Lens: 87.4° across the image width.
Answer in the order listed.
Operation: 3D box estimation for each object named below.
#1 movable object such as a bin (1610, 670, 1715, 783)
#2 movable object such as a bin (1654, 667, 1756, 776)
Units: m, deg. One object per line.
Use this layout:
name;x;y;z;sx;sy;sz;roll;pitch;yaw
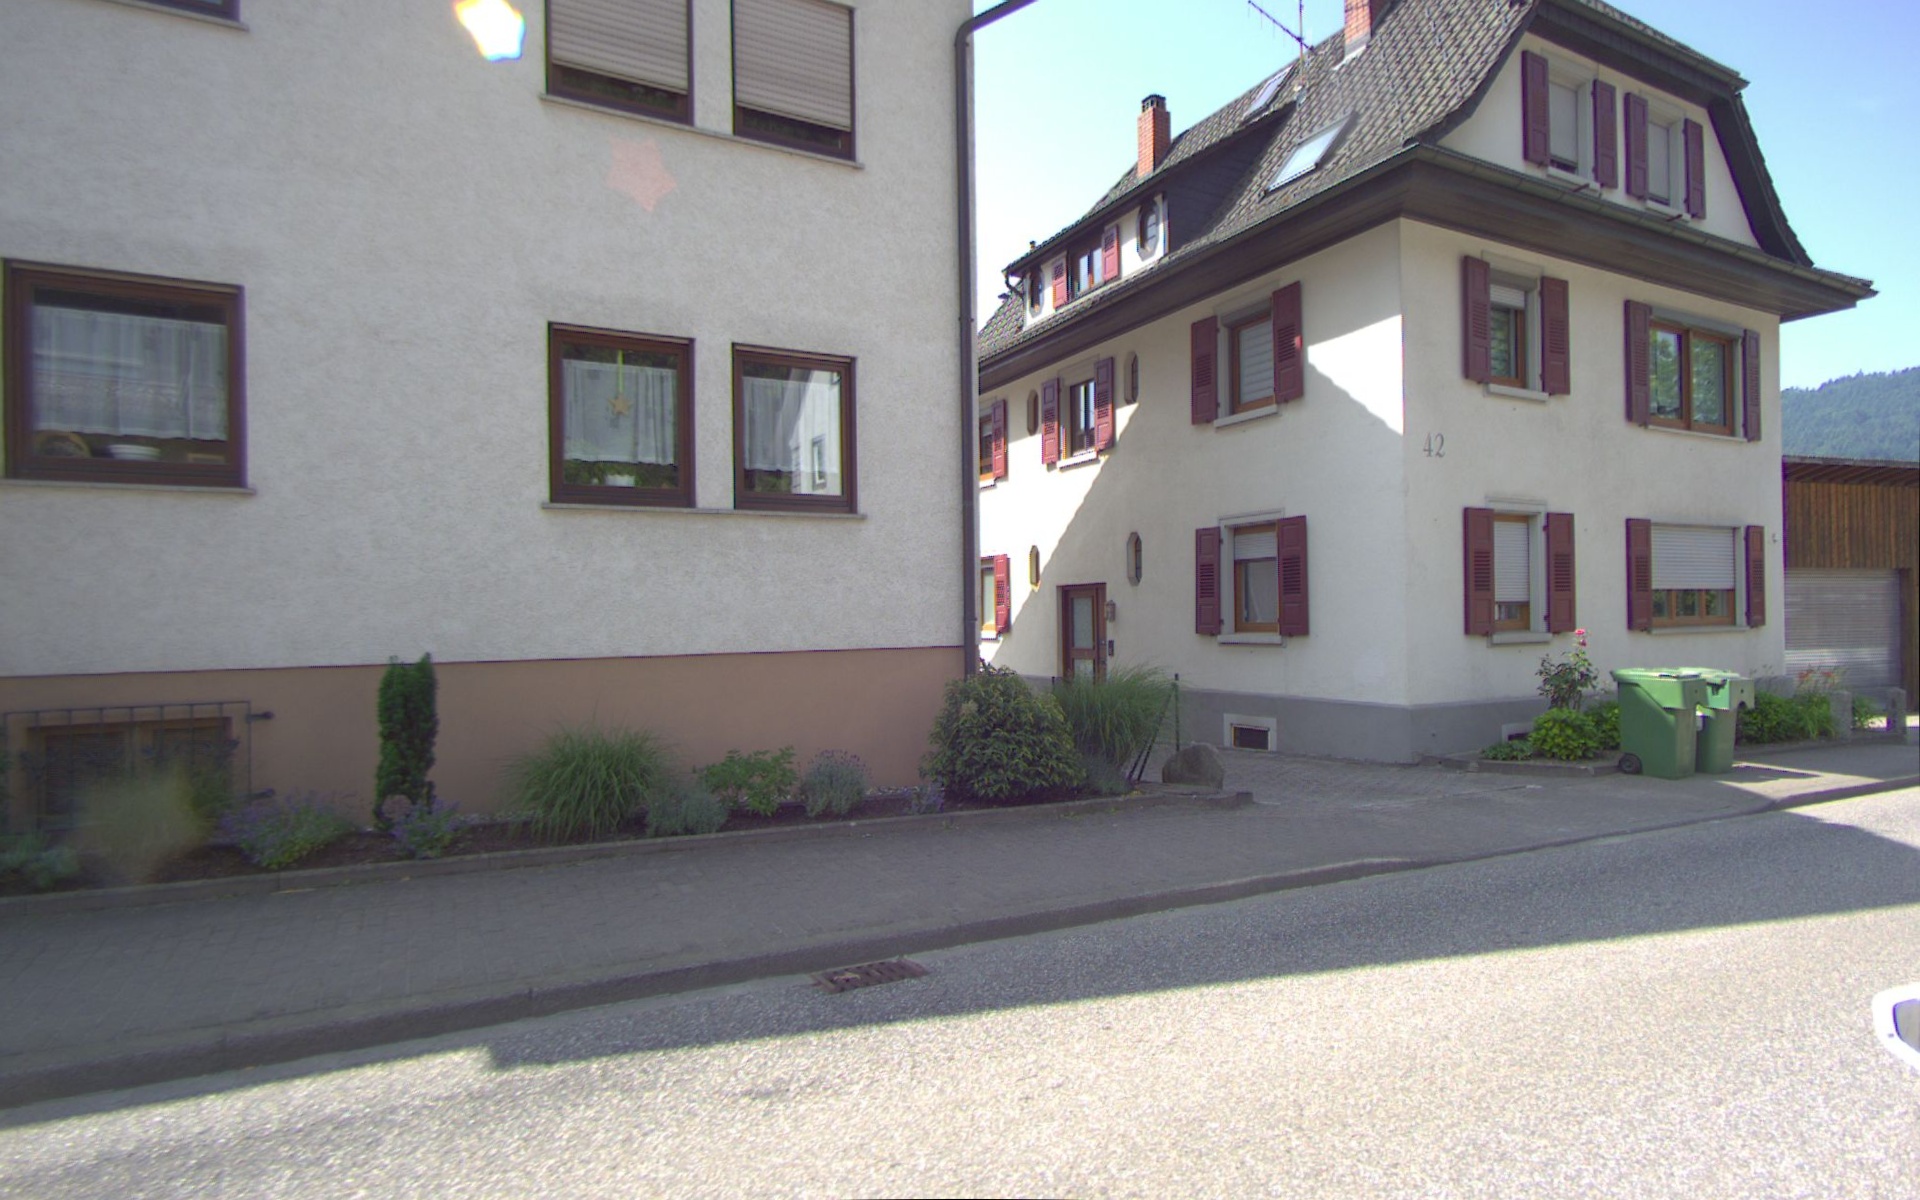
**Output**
movable object such as a bin;7.235;1.274;10.354;0.646;1.081;0.672;1;-2;-31
movable object such as a bin;7.899;1.265;10.657;0.614;1.081;0.672;1;-2;-31
